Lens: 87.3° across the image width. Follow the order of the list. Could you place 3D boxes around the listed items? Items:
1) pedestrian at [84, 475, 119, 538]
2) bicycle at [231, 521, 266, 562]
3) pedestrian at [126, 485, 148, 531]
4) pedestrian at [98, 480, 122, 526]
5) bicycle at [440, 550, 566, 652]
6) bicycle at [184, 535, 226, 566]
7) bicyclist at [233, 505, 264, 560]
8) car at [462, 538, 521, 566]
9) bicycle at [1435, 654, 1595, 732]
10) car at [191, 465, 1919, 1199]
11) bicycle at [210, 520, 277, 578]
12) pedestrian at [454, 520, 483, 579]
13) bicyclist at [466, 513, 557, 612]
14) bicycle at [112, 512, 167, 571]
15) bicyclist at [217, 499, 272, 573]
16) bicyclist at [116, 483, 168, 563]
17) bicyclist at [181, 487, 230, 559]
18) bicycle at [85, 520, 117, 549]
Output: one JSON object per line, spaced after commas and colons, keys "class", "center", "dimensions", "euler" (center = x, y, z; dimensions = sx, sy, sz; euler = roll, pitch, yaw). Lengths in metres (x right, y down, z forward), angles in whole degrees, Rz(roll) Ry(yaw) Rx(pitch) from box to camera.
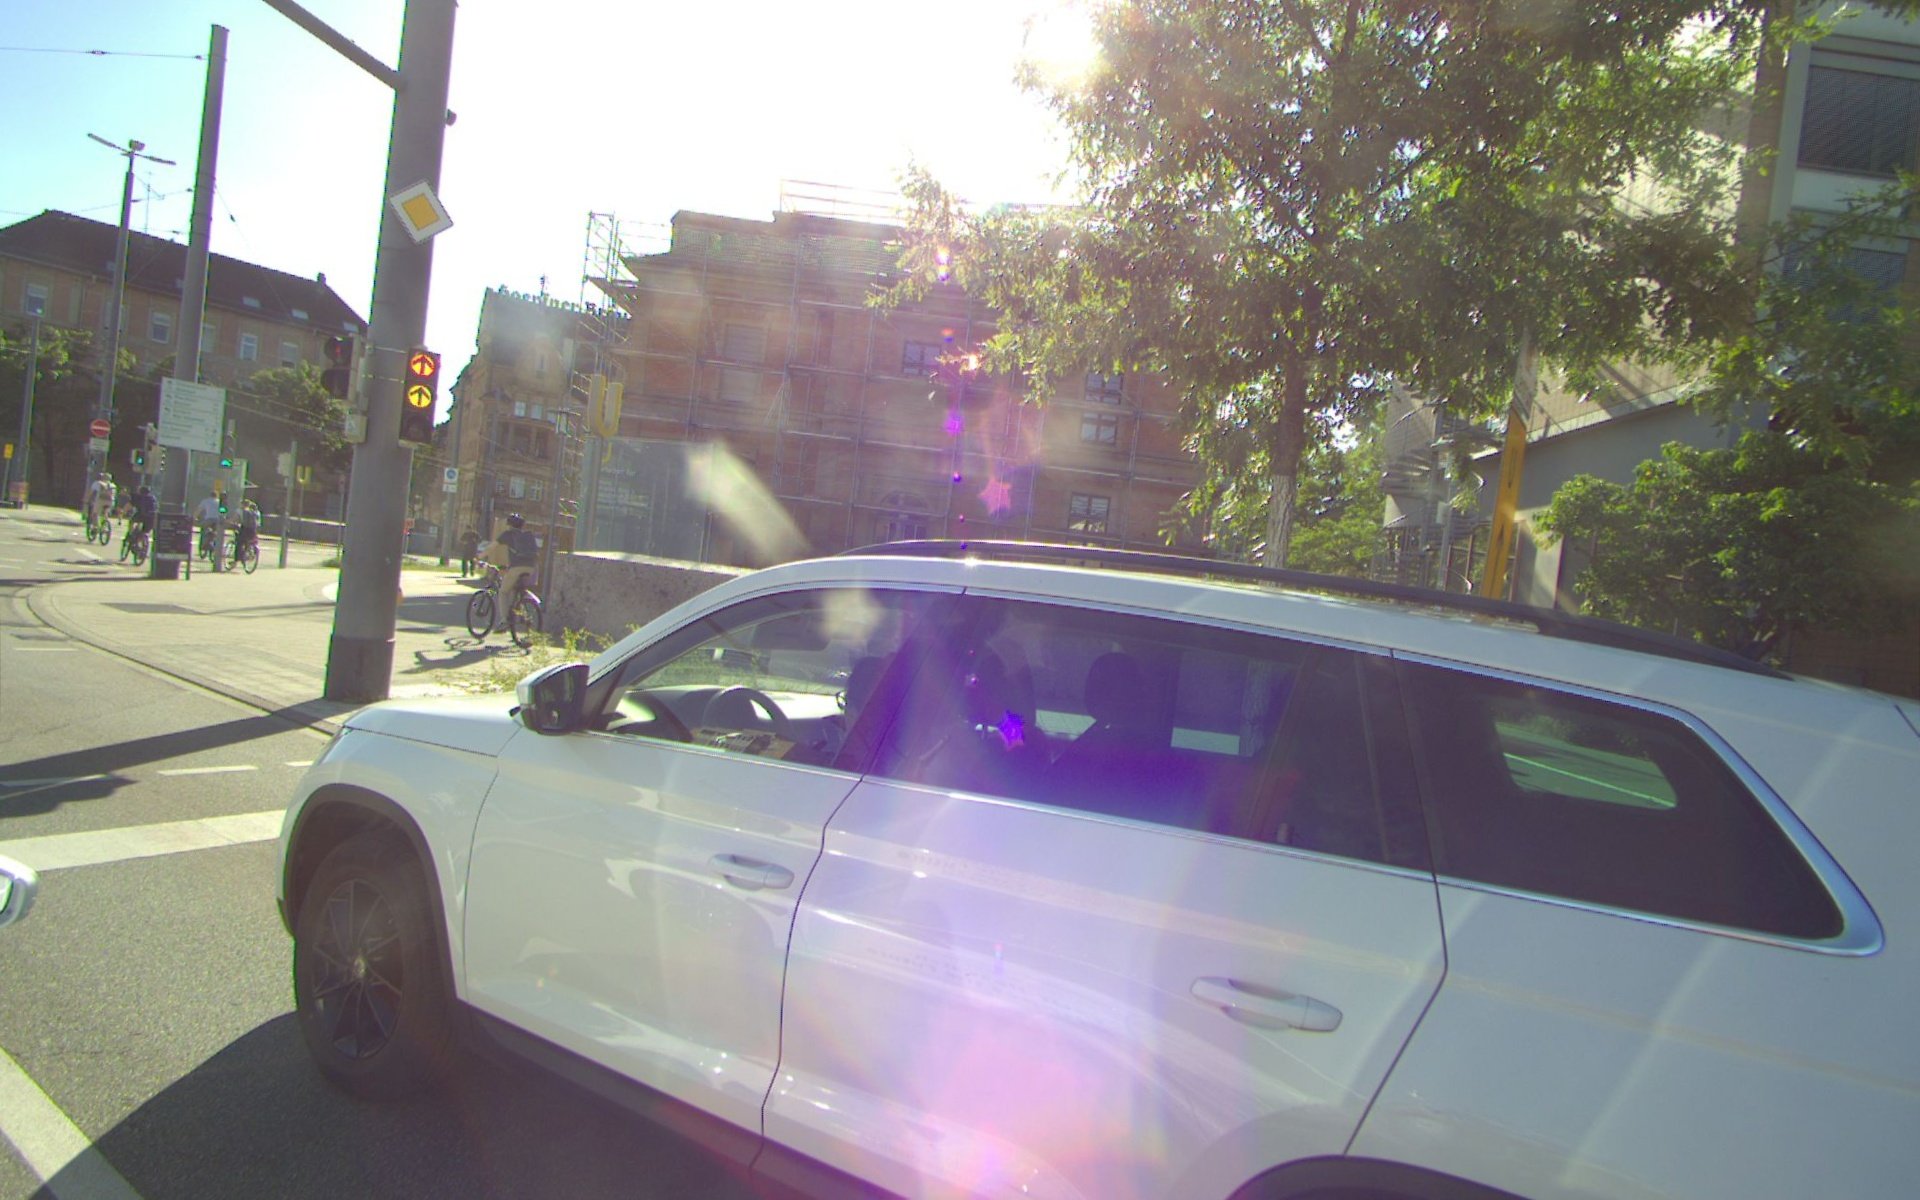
{"class": "pedestrian", "center": [-22.994, -2.496, 26.951], "dimensions": [0.545, 1.582, 0.849], "euler": [6, 1, -38]}
{"class": "bicycle", "center": [-21.822, -1.799, 30.831], "dimensions": [0.569, 1.140, 1.718], "euler": [3, 3, -44]}
{"class": "pedestrian", "center": [-38.122, -4.274, 46.582], "dimensions": [0.443, 2.039, 0.462], "euler": [7, 2, 14]}
{"class": "pedestrian", "center": [-39.460, -4.484, 46.703], "dimensions": [0.443, 2.039, 0.574], "euler": [7, 1, 14]}
{"class": "bicycle", "center": [-6.528, 0.004, 14.338], "dimensions": [1.804, 1.234, 0.690], "euler": [7, 3, 32]}
{"class": "bicycle", "center": [-20.204, -1.330, 26.908], "dimensions": [1.446, 0.664, 0.536], "euler": [7, 2, 39]}
{"class": "bicyclist", "center": [-21.768, -2.072, 30.775], "dimensions": [0.569, 1.589, 0.935], "euler": [3, 3, -44]}
{"class": "car", "center": [-34.196, -3.509, 73.614], "dimensions": [1.766, 1.583, 4.326], "euler": [7, 0, 7]}
{"class": "bicycle", "center": [13.076, 2.179, 23.786], "dimensions": [3.079, 1.395, 0.798], "euler": [7, 1, 8]}
{"class": "car", "center": [-0.012, 0.699, 2.699], "dimensions": [4.224, 1.662, 1.697], "euler": [7, 0, 30]}
{"class": "bicycle", "center": [-17.017, -1.214, 23.887], "dimensions": [1.854, 1.178, 0.685], "euler": [7, 1, 37]}
{"class": "pedestrian", "center": [-16.716, -1.727, 34.220], "dimensions": [0.693, 1.904, 0.715], "euler": [6, 1, -28]}
{"class": "bicyclist", "center": [-6.390, -0.531, 14.336], "dimensions": [0.892, 1.296, 0.720], "euler": [7, 3, 32]}
{"class": "bicycle", "center": [-18.537, -1.334, 22.702], "dimensions": [1.825, 1.128, 0.624], "euler": [9, 2, 42]}
{"class": "bicyclist", "center": [-17.016, -1.529, 23.929], "dimensions": [0.962, 1.619, 0.685], "euler": [7, 1, 37]}
{"class": "bicyclist", "center": [-18.354, -1.720, 22.567], "dimensions": [0.981, 1.658, 0.624], "euler": [9, 2, 42]}
{"class": "bicyclist", "center": [-20.221, -2.056, 26.957], "dimensions": [0.910, 1.802, 0.746], "euler": [8, 2, 39]}
{"class": "bicycle", "center": [-23.059, -1.761, 27.013], "dimensions": [0.534, 0.664, 1.707], "euler": [6, 1, -38]}
